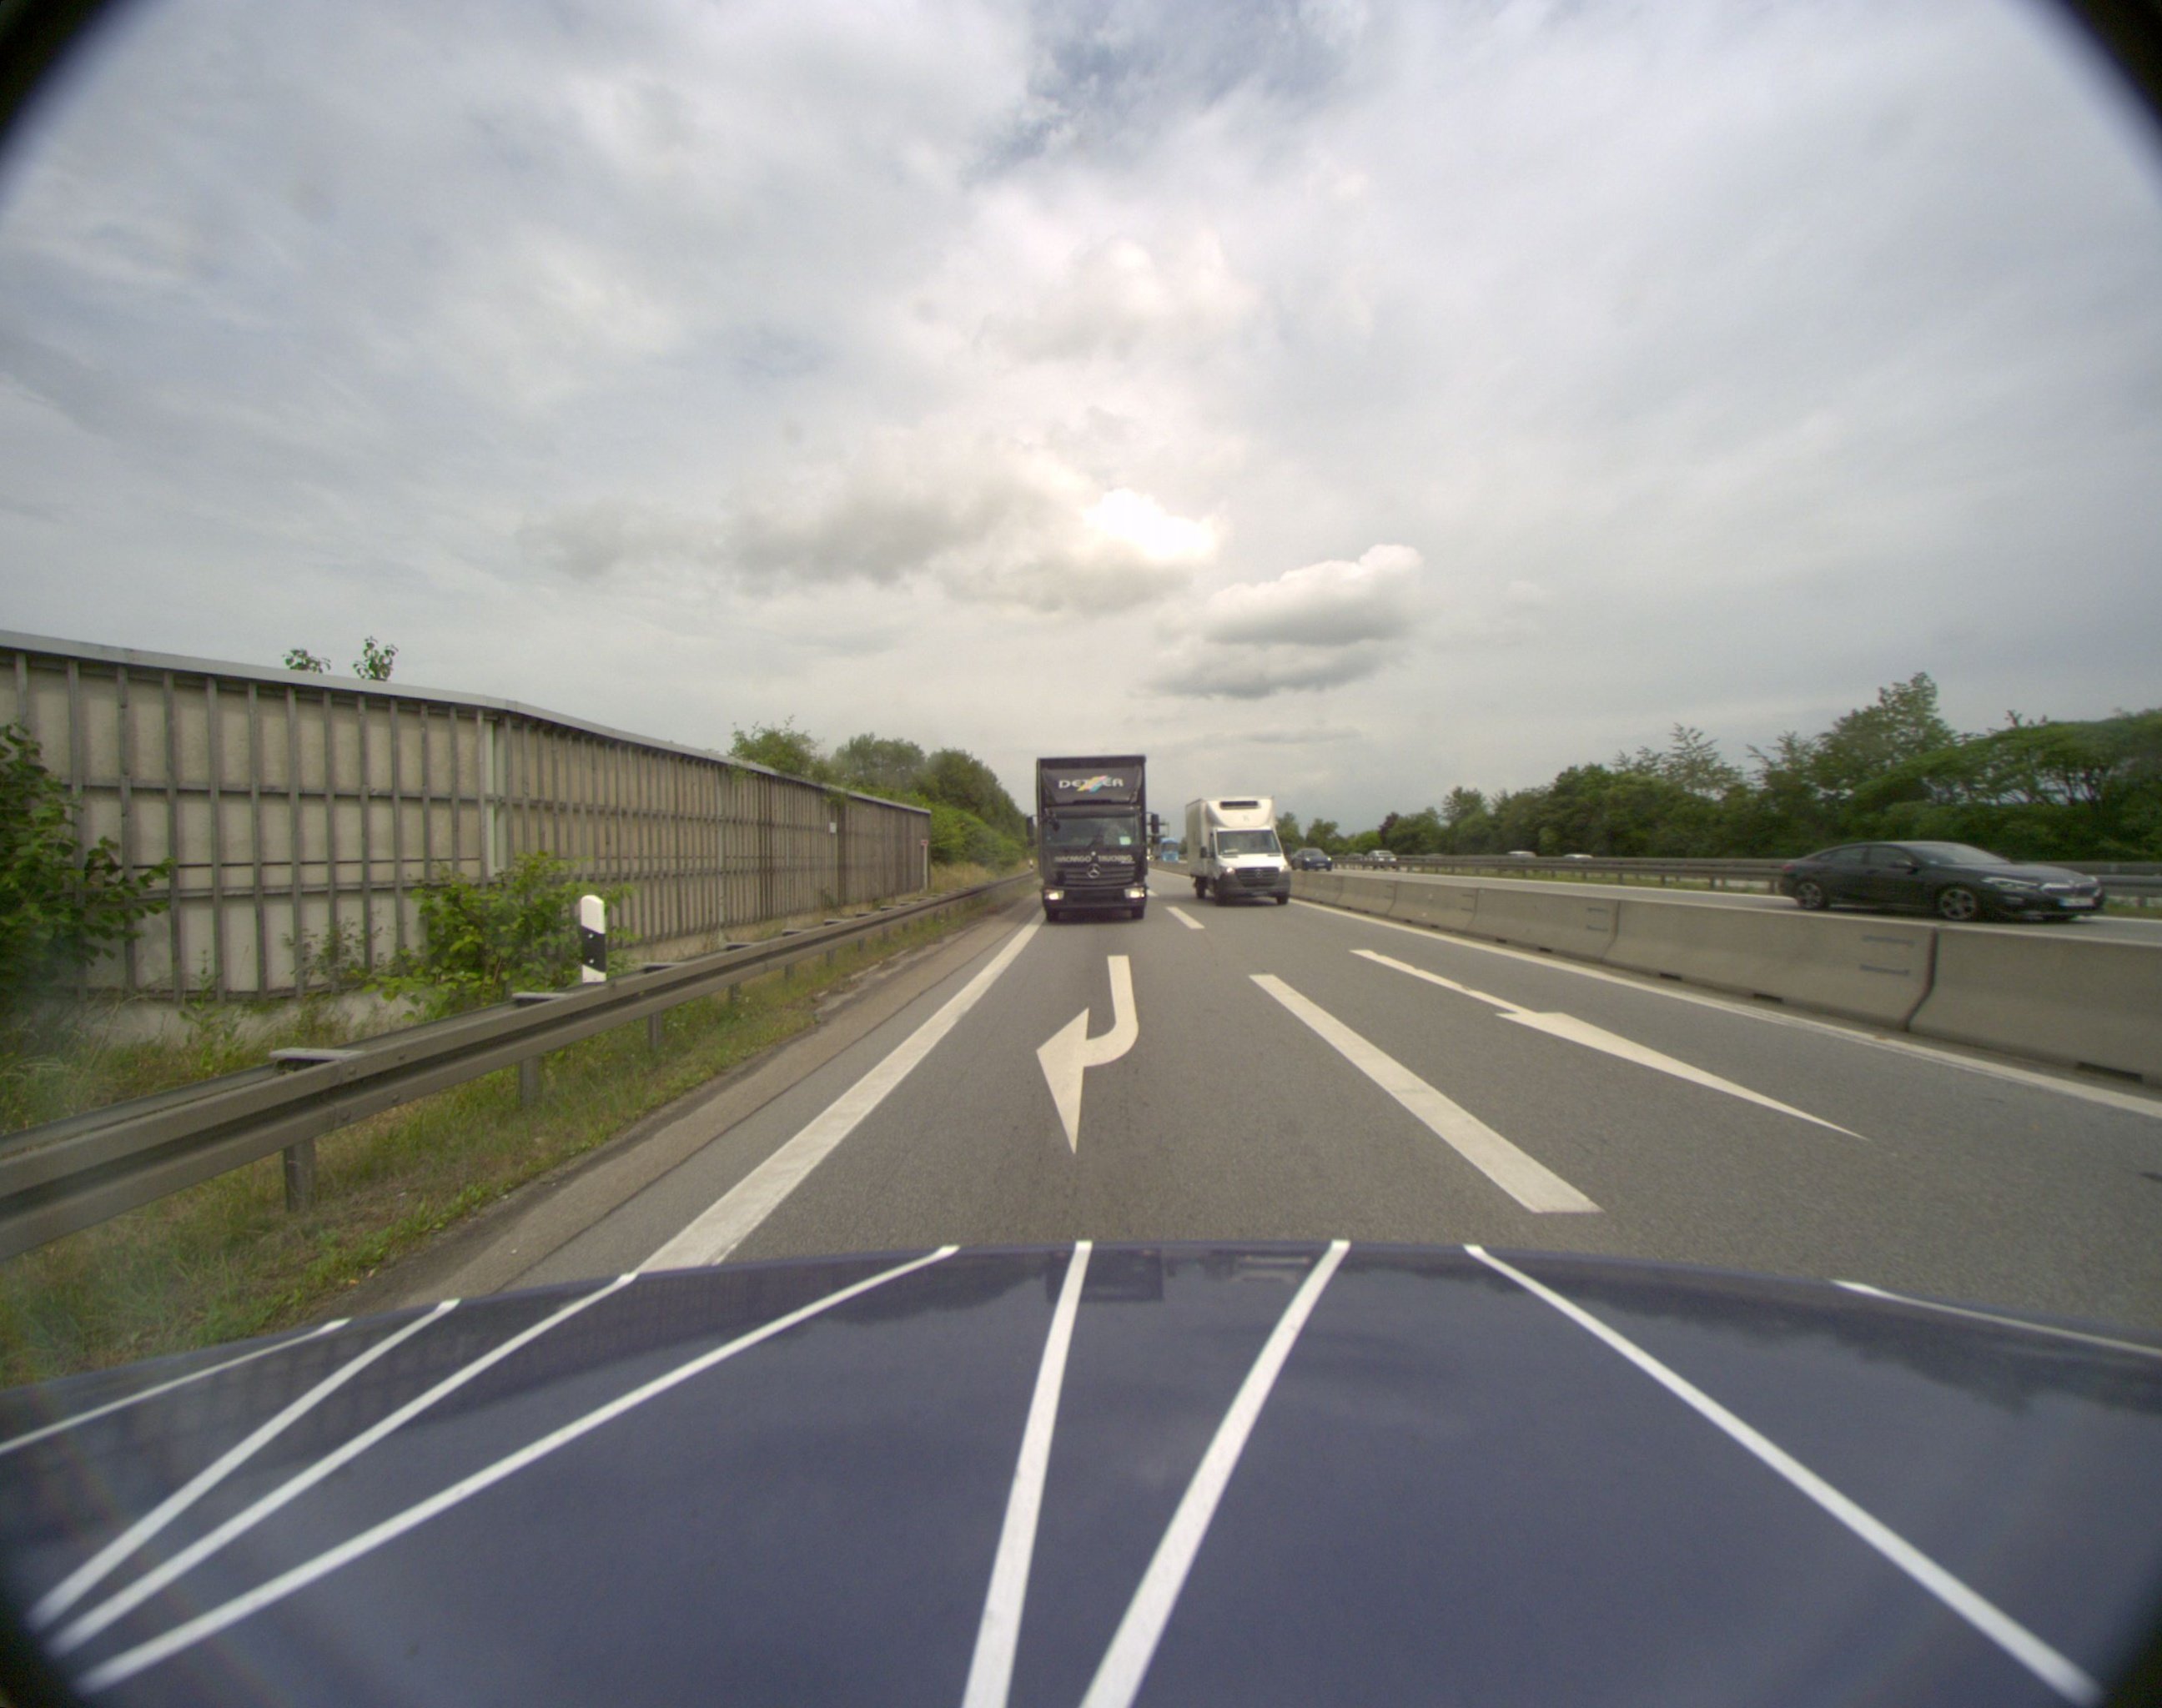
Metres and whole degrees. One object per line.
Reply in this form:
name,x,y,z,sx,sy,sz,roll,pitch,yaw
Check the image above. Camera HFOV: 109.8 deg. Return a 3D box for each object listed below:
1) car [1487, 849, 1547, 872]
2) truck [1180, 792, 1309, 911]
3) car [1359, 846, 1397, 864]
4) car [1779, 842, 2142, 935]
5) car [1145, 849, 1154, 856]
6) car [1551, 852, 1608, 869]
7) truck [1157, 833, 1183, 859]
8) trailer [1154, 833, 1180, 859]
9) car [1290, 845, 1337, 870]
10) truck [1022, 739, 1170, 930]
car,29.298,0.394,51.225,1.691,1.460,4.004,-2,0,0
truck,4.722,-0.085,23.174,2.410,3.072,6.369,-2,0,-1
car,25.222,0.069,64.646,1.691,1.460,4.004,-2,0,0
car,15.996,0.532,14.268,1.776,1.441,4.384,-1,0,1
car,15.440,-0.321,171.555,1.684,1.476,3.776,-1,0,8
car,37.500,0.501,57.280,1.691,1.185,4.004,-1,0,0
truck,14.064,-1.243,120.538,3.254,3.889,6.610,-2,1,1
trailer,14.232,-1.321,126.166,3.244,3.901,12.380,-2,1,2
car,16.259,0.242,53.338,1.998,1.652,4.384,-1,0,1
truck,0.051,-0.435,21.138,3.025,3.931,10.336,-2,0,-3
